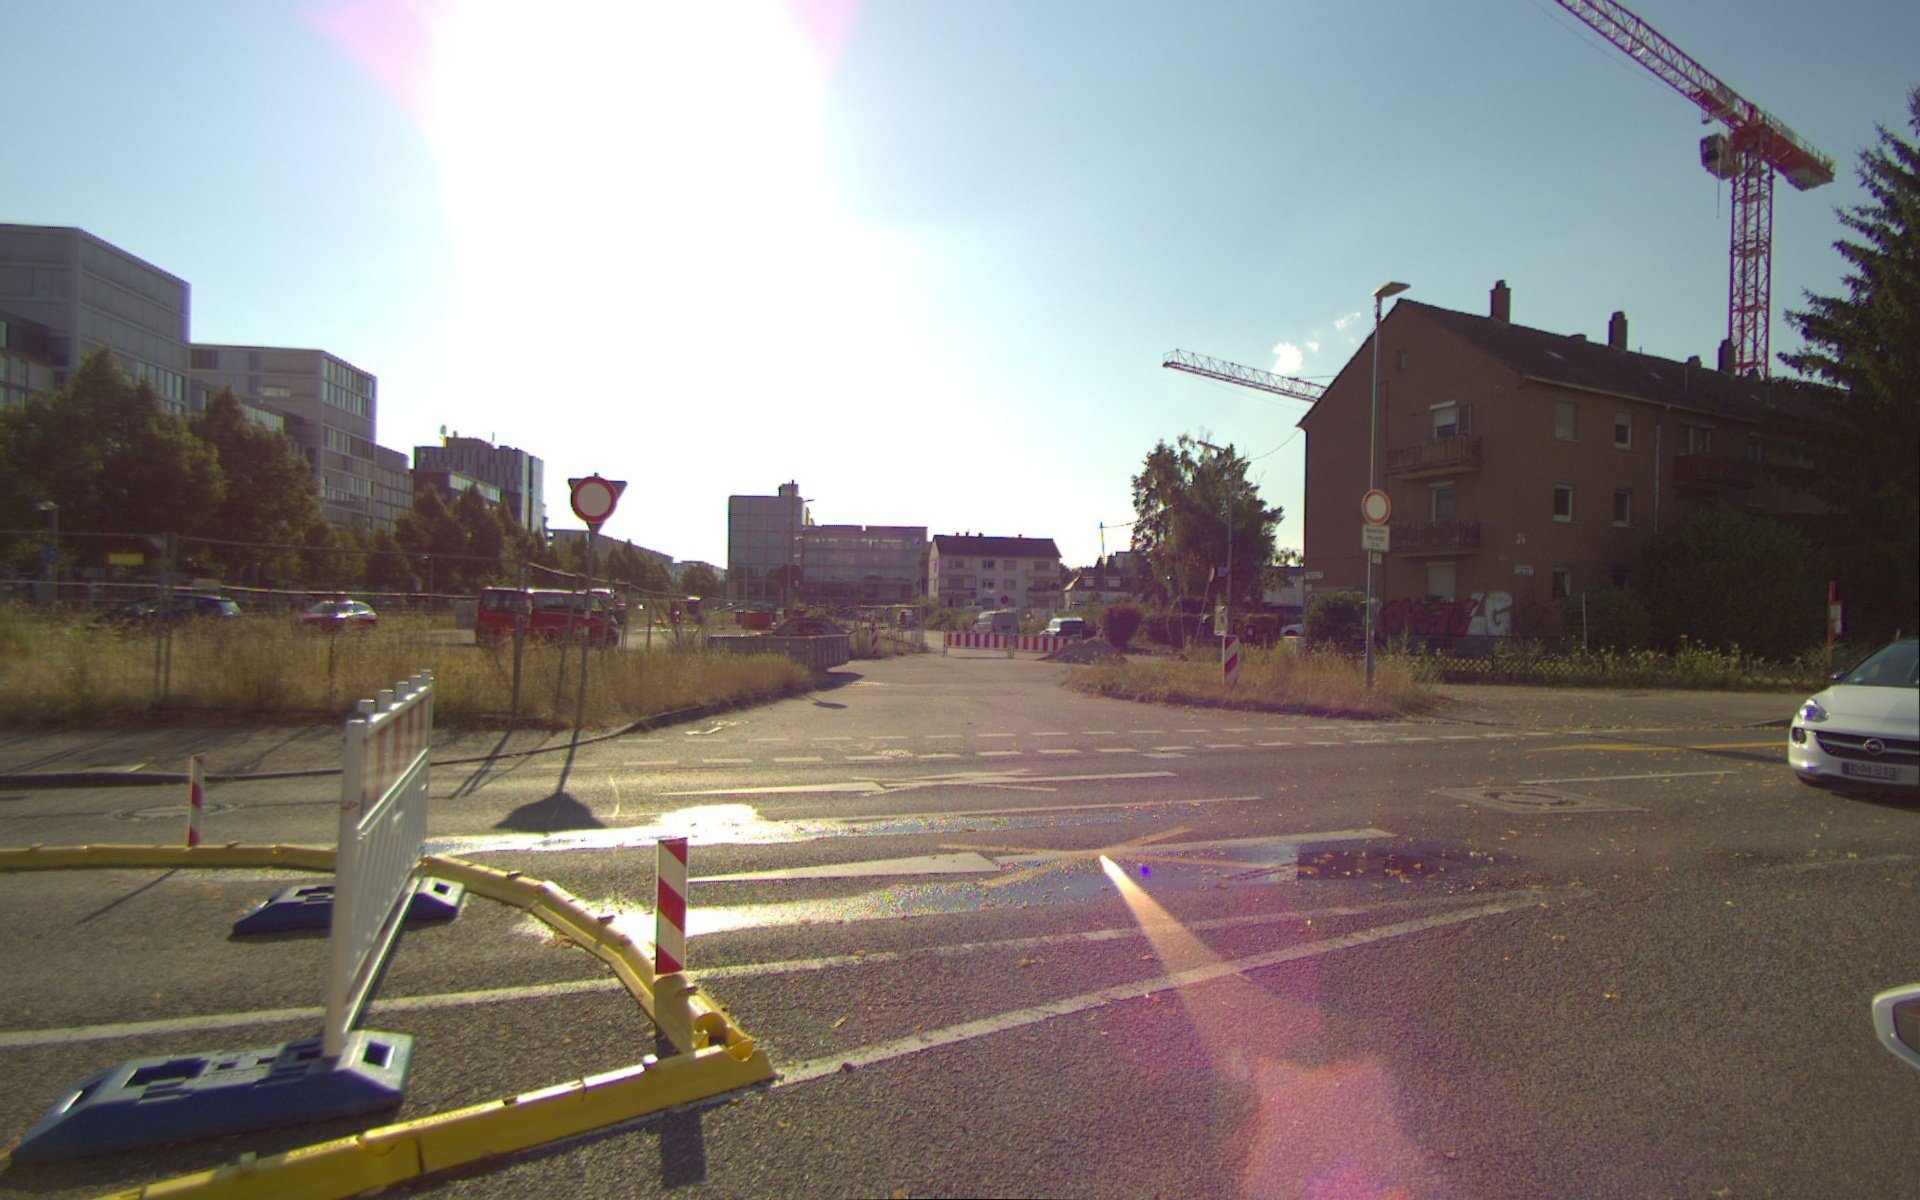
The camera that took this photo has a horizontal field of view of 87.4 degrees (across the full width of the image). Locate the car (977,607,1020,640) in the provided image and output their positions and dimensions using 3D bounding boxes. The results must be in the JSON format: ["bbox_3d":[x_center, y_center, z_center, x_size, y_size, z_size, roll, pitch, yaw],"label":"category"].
[{"bbox_3d":[2.442,1.471,64.118,1.835,1.973,3.992,1,-1,-11],"label":"car"}]

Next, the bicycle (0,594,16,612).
[{"bbox_3d":[-51.310,0.133,53.421,0.836,0.941,1.714,2,-1,-14],"label":"bicycle"}]

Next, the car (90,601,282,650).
[{"bbox_3d":[-23.247,0.774,30.396,4.186,1.381,1.988,2,-1,-24],"label":"car"}]

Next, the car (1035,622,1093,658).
[{"bbox_3d":[4.964,1.895,48.448,1.963,1.572,3.996,1,-1,-7],"label":"car"}]

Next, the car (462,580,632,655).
[{"bbox_3d":[-12.223,0.519,30.237,1.959,2.040,5.316,1,-1,13],"label":"car"}]

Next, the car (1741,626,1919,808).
[{"bbox_3d":[9.181,1.005,9.257,3.577,1.440,1.753,2,-1,-26],"label":"car"}]

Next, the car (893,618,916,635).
[{"bbox_3d":[-6.354,3.014,114.188,2.114,1.862,4.355,2,-1,-9],"label":"car"}]

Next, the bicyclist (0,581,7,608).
[{"bbox_3d":[-51.242,-0.293,53.185,0.855,1.428,0.627,2,0,-12],"label":"bicyclist"}]

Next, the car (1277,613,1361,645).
[{"bbox_3d":[19.255,1.533,53.946,3.930,1.550,1.996,1,-1,32],"label":"car"}]

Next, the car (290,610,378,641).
[{"bbox_3d":[-25.892,1.021,41.694,1.306,1.181,3.934,2,-1,-2],"label":"car"}]

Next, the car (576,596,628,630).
[{"bbox_3d":[-27.908,0.995,78.557,2.487,2.473,5.929,2,-1,-6],"label":"car"}]
